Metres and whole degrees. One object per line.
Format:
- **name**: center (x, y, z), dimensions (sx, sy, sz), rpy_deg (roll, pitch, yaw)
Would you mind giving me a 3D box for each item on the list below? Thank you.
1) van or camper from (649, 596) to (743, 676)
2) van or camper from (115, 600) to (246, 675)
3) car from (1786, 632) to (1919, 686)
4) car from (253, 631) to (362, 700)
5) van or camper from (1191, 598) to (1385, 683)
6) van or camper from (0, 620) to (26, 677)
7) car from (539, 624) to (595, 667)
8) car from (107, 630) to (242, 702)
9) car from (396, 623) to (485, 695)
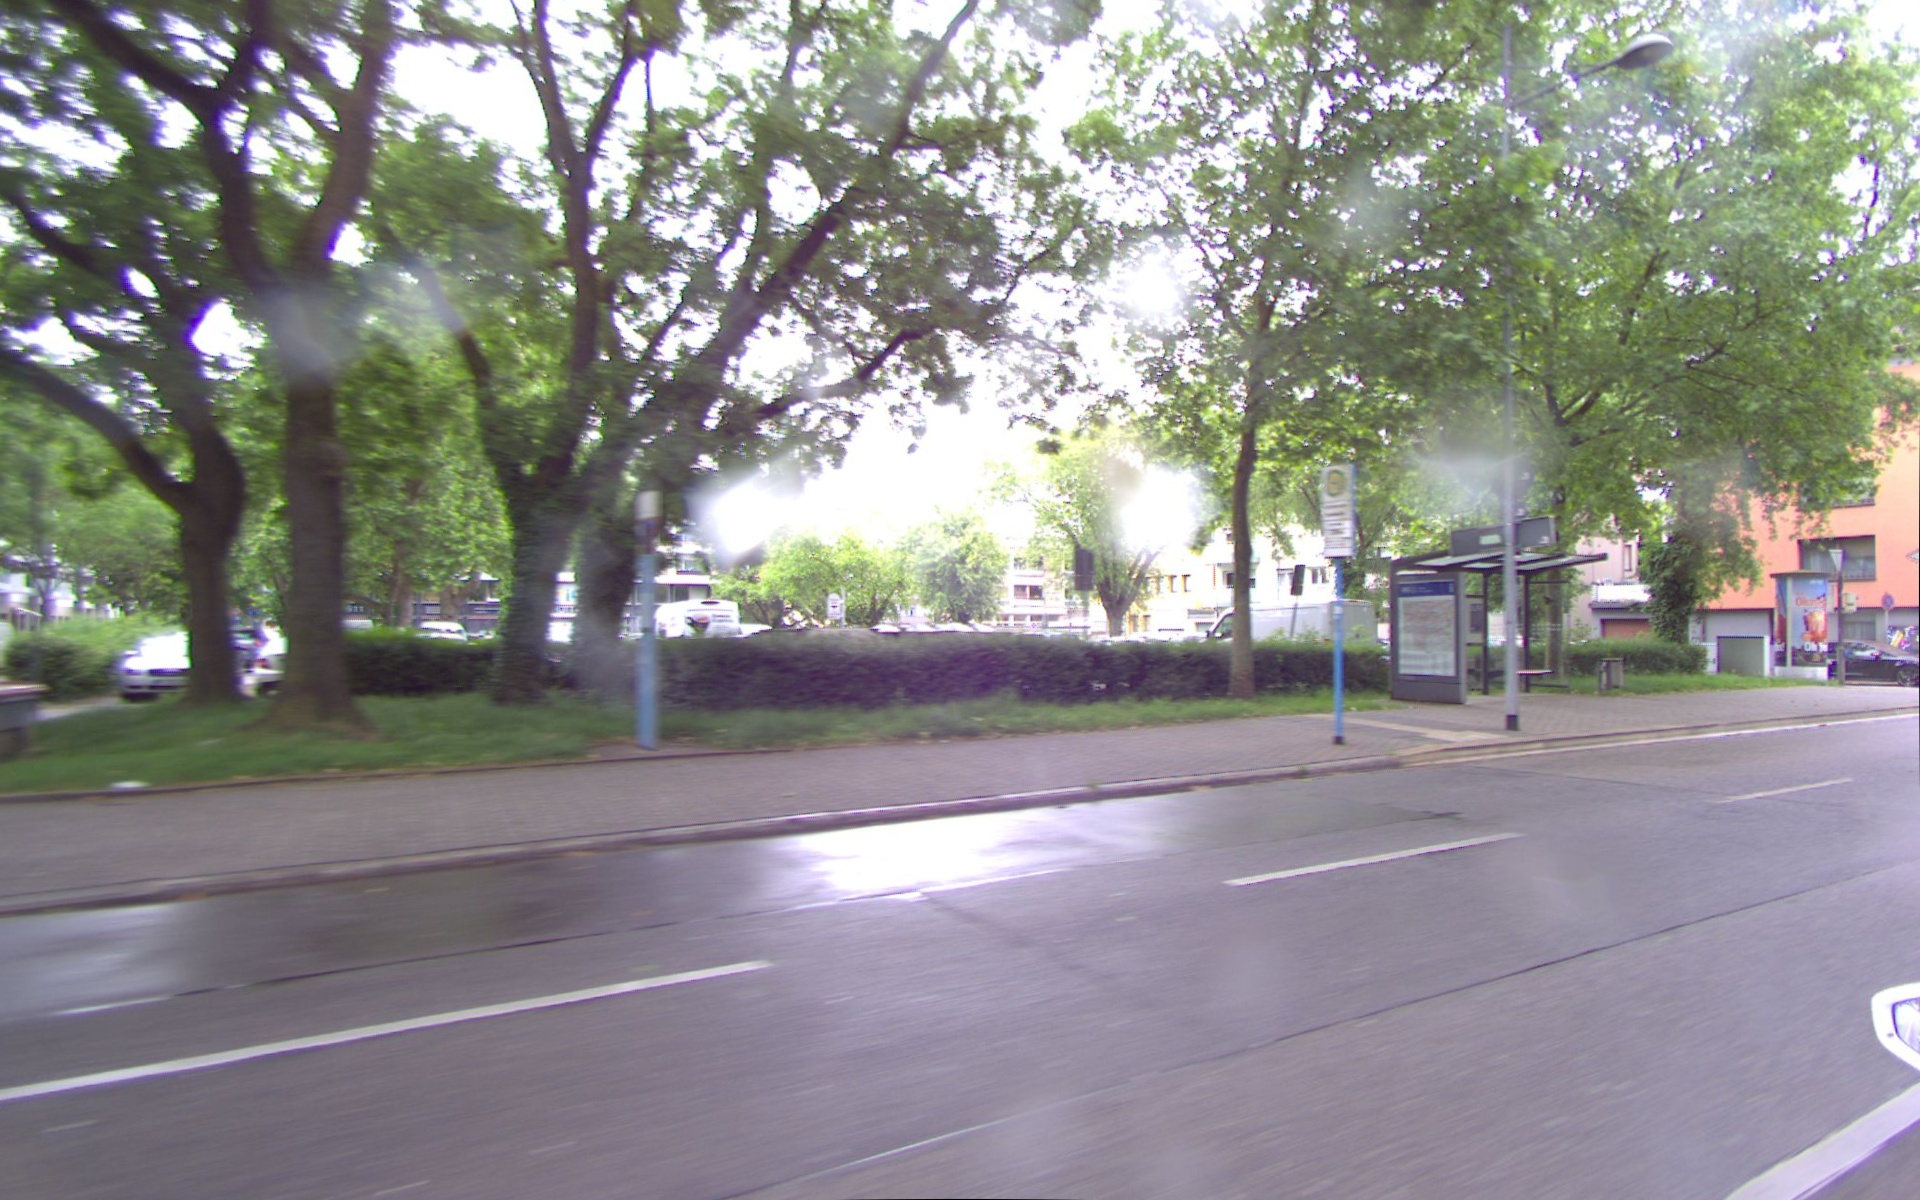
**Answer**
- **van or camper**: center (-8.863, 1.178, 33.499), dimensions (2.074, 2.463, 4.310), rpy_deg (1, -2, -28)
- **van or camper**: center (-28.376, 1.344, 36.955), dimensions (2.532, 2.433, 8.587), rpy_deg (1, -2, -29)
- **car**: center (28.943, 1.835, 31.735), dimensions (1.834, 1.647, 4.095), rpy_deg (1, -3, -36)
- **car**: center (-15.540, 1.503, 24.121), dimensions (1.841, 1.483, 3.971), rpy_deg (1, -2, -28)
- **van or camper**: center (8.276, 1.008, 25.761), dimensions (1.978, 1.975, 4.572), rpy_deg (1, -2, -32)
- **van or camper**: center (-35.306, 1.713, 35.923), dimensions (1.807, 2.039, 4.597), rpy_deg (4, -4, -32)
- **car**: center (-18.011, 2.066, 45.981), dimensions (1.782, 1.848, 3.968), rpy_deg (1, -2, -30)
- **car**: center (-17.731, 1.422, 22.847), dimensions (1.841, 1.483, 3.614), rpy_deg (1, -2, -29)
- **car**: center (-13.101, 1.417, 25.314), dimensions (1.841, 1.647, 4.022), rpy_deg (1, -2, -28)
